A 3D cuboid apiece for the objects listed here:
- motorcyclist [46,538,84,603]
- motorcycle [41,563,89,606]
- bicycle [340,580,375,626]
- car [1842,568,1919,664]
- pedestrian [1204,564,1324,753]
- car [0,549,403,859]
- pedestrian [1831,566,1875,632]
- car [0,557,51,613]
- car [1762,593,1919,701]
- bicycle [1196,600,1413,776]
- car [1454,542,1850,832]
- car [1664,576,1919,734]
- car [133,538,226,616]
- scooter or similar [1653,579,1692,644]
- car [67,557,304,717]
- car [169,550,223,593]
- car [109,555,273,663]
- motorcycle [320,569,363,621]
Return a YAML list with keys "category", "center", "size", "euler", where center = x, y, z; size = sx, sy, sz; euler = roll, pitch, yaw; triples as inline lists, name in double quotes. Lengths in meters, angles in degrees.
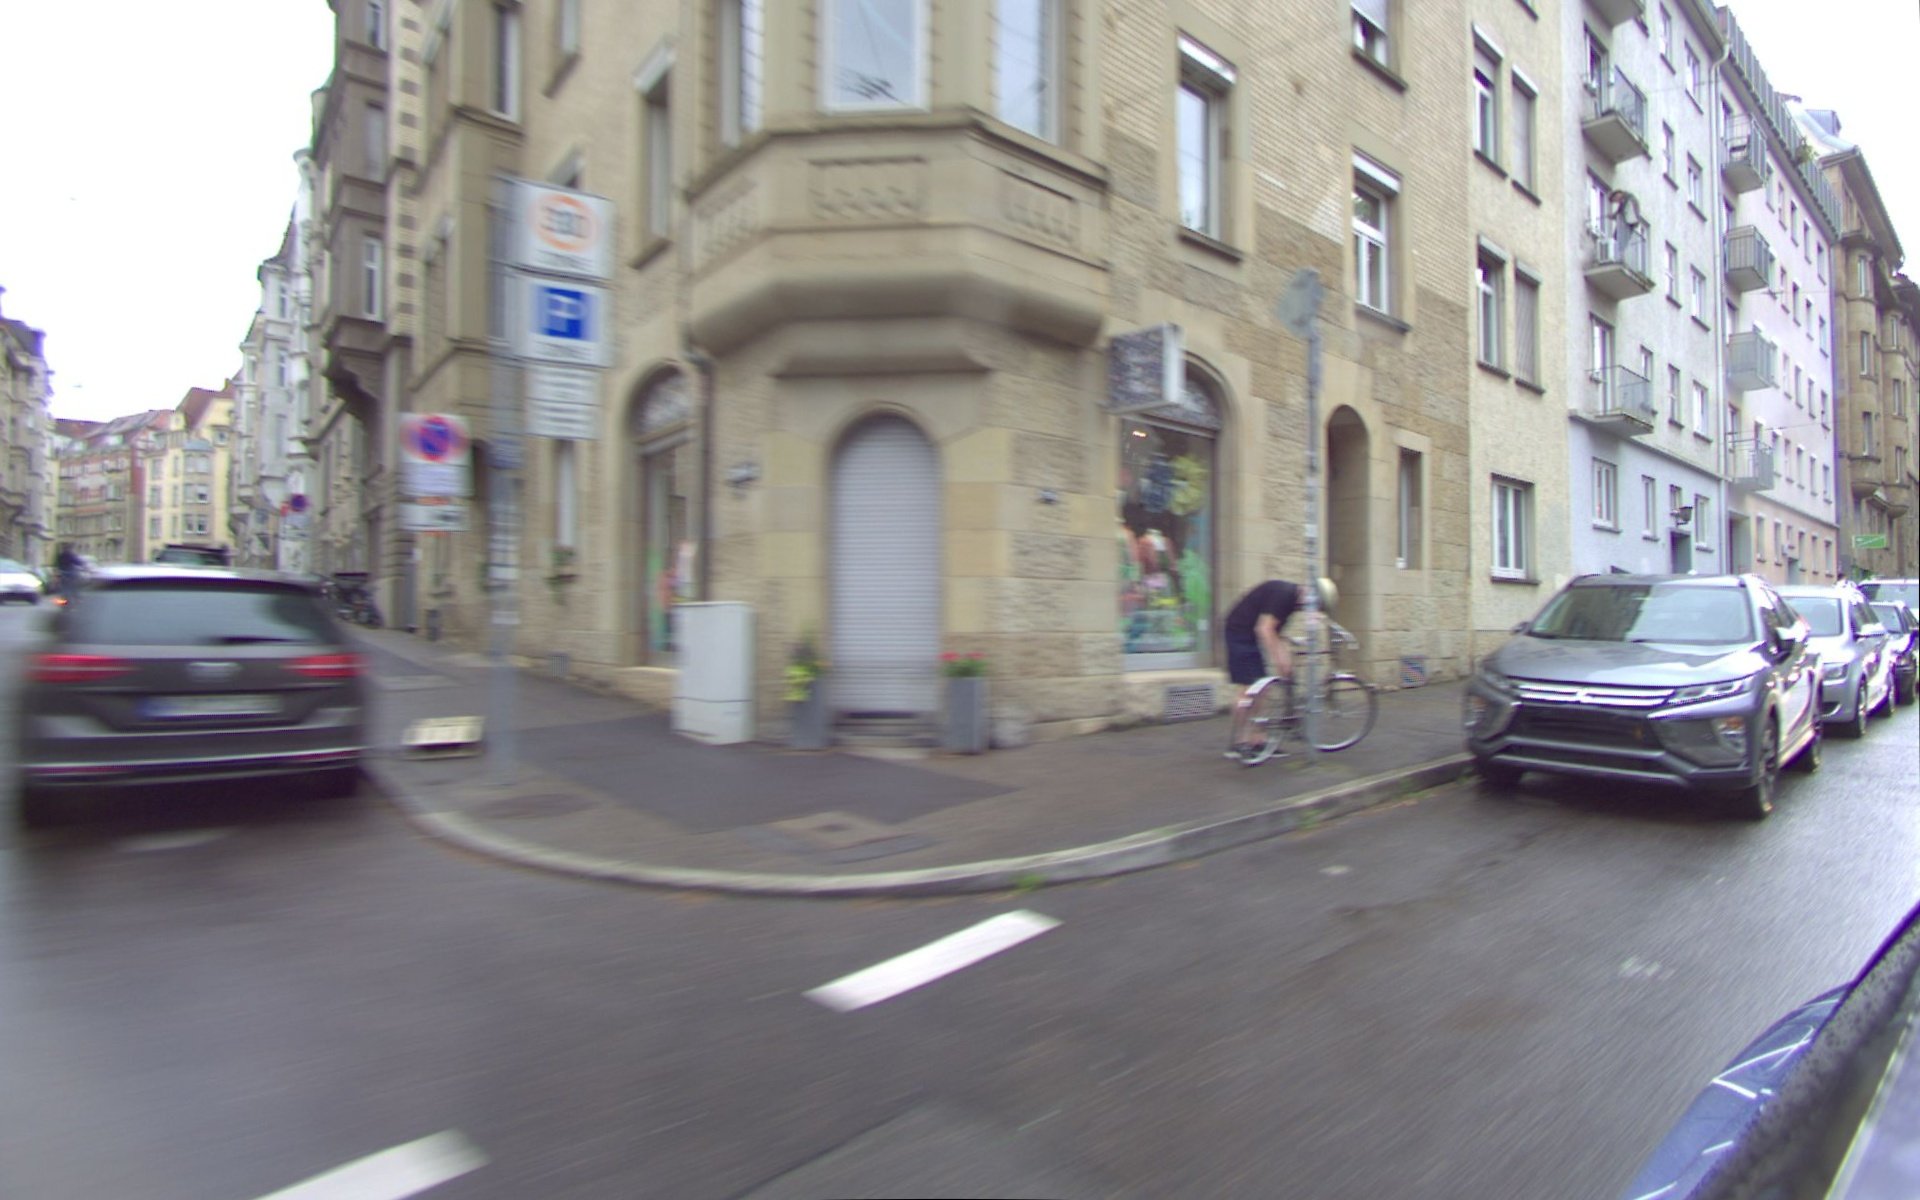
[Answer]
- category: "motorcyclist"
  center: [-24.227, -0.801, 27.408]
  size: [0.632, 1.730, 0.934]
  euler: [-1, 1, -33]
- category: "motorcycle"
  center: [-24.239, -0.434, 27.437]
  size: [0.632, 1.111, 2.291]
  euler: [-1, 1, -33]
- category: "bicycle"
  center: [-14.582, 0.054, 24.466]
  size: [0.472, 1.045, 1.781]
  euler: [-1, 1, -39]
- category: "car"
  center: [19.344, 0.277, 20.323]
  size: [4.388, 1.772, 1.832]
  euler: [0, 1, -40]
- category: "pedestrian"
  center: [2.373, 0.421, 7.910]
  size: [0.631, 1.387, 0.671]
  euler: [-1, 1, -41]
- category: "car"
  center: [-5.372, 0.425, 7.168]
  size: [1.830, 1.503, 4.463]
  euler: [0, 2, -38]
- category: "pedestrian"
  center: [25.911, -0.032, 29.365]
  size: [1.020, 1.856, 0.747]
  euler: [0, 3, -40]
- category: "car"
  center: [-31.121, -0.484, 32.348]
  size: [3.963, 1.727, 1.856]
  euler: [0, 1, 29]
- category: "car"
  center: [13.457, 0.595, 15.033]
  size: [4.386, 1.364, 1.719]
  euler: [-1, 0, -42]
- category: "bicycle"
  center: [2.699, 0.597, 7.791]
  size: [2.091, 1.149, 0.622]
  euler: [-1, 1, -41]
- category: "car"
  center: [5.652, 0.489, 8.030]
  size: [4.261, 1.689, 1.767]
  euler: [-1, 0, -44]
- category: "car"
  center: [9.797, 0.509, 11.815]
  size: [3.931, 1.548, 1.696]
  euler: [-1, 1, -41]
- category: "car"
  center: [-22.166, -0.658, 28.791]
  size: [1.963, 2.039, 4.325]
  euler: [-1, 1, -38]
- category: "scooter or similar"
  center: [14.667, 0.223, 20.818]
  size: [1.151, 1.313, 0.388]
  euler: [0, 1, -41]
- category: "car"
  center: [-8.754, 0.268, 11.509]
  size: [1.830, 1.460, 4.140]
  euler: [0, 2, -38]
- category: "car"
  center: [-31.889, -1.159, 42.248]
  size: [1.719, 1.714, 3.997]
  euler: [-1, 1, -38]
- category: "car"
  center: [-12.052, 0.052, 15.895]
  size: [1.830, 1.460, 4.140]
  euler: [0, 2, -38]
- category: "motorcycle"
  center: [-15.934, -0.144, 26.055]
  size: [0.624, 1.291, 2.287]
  euler: [-1, 1, -40]
